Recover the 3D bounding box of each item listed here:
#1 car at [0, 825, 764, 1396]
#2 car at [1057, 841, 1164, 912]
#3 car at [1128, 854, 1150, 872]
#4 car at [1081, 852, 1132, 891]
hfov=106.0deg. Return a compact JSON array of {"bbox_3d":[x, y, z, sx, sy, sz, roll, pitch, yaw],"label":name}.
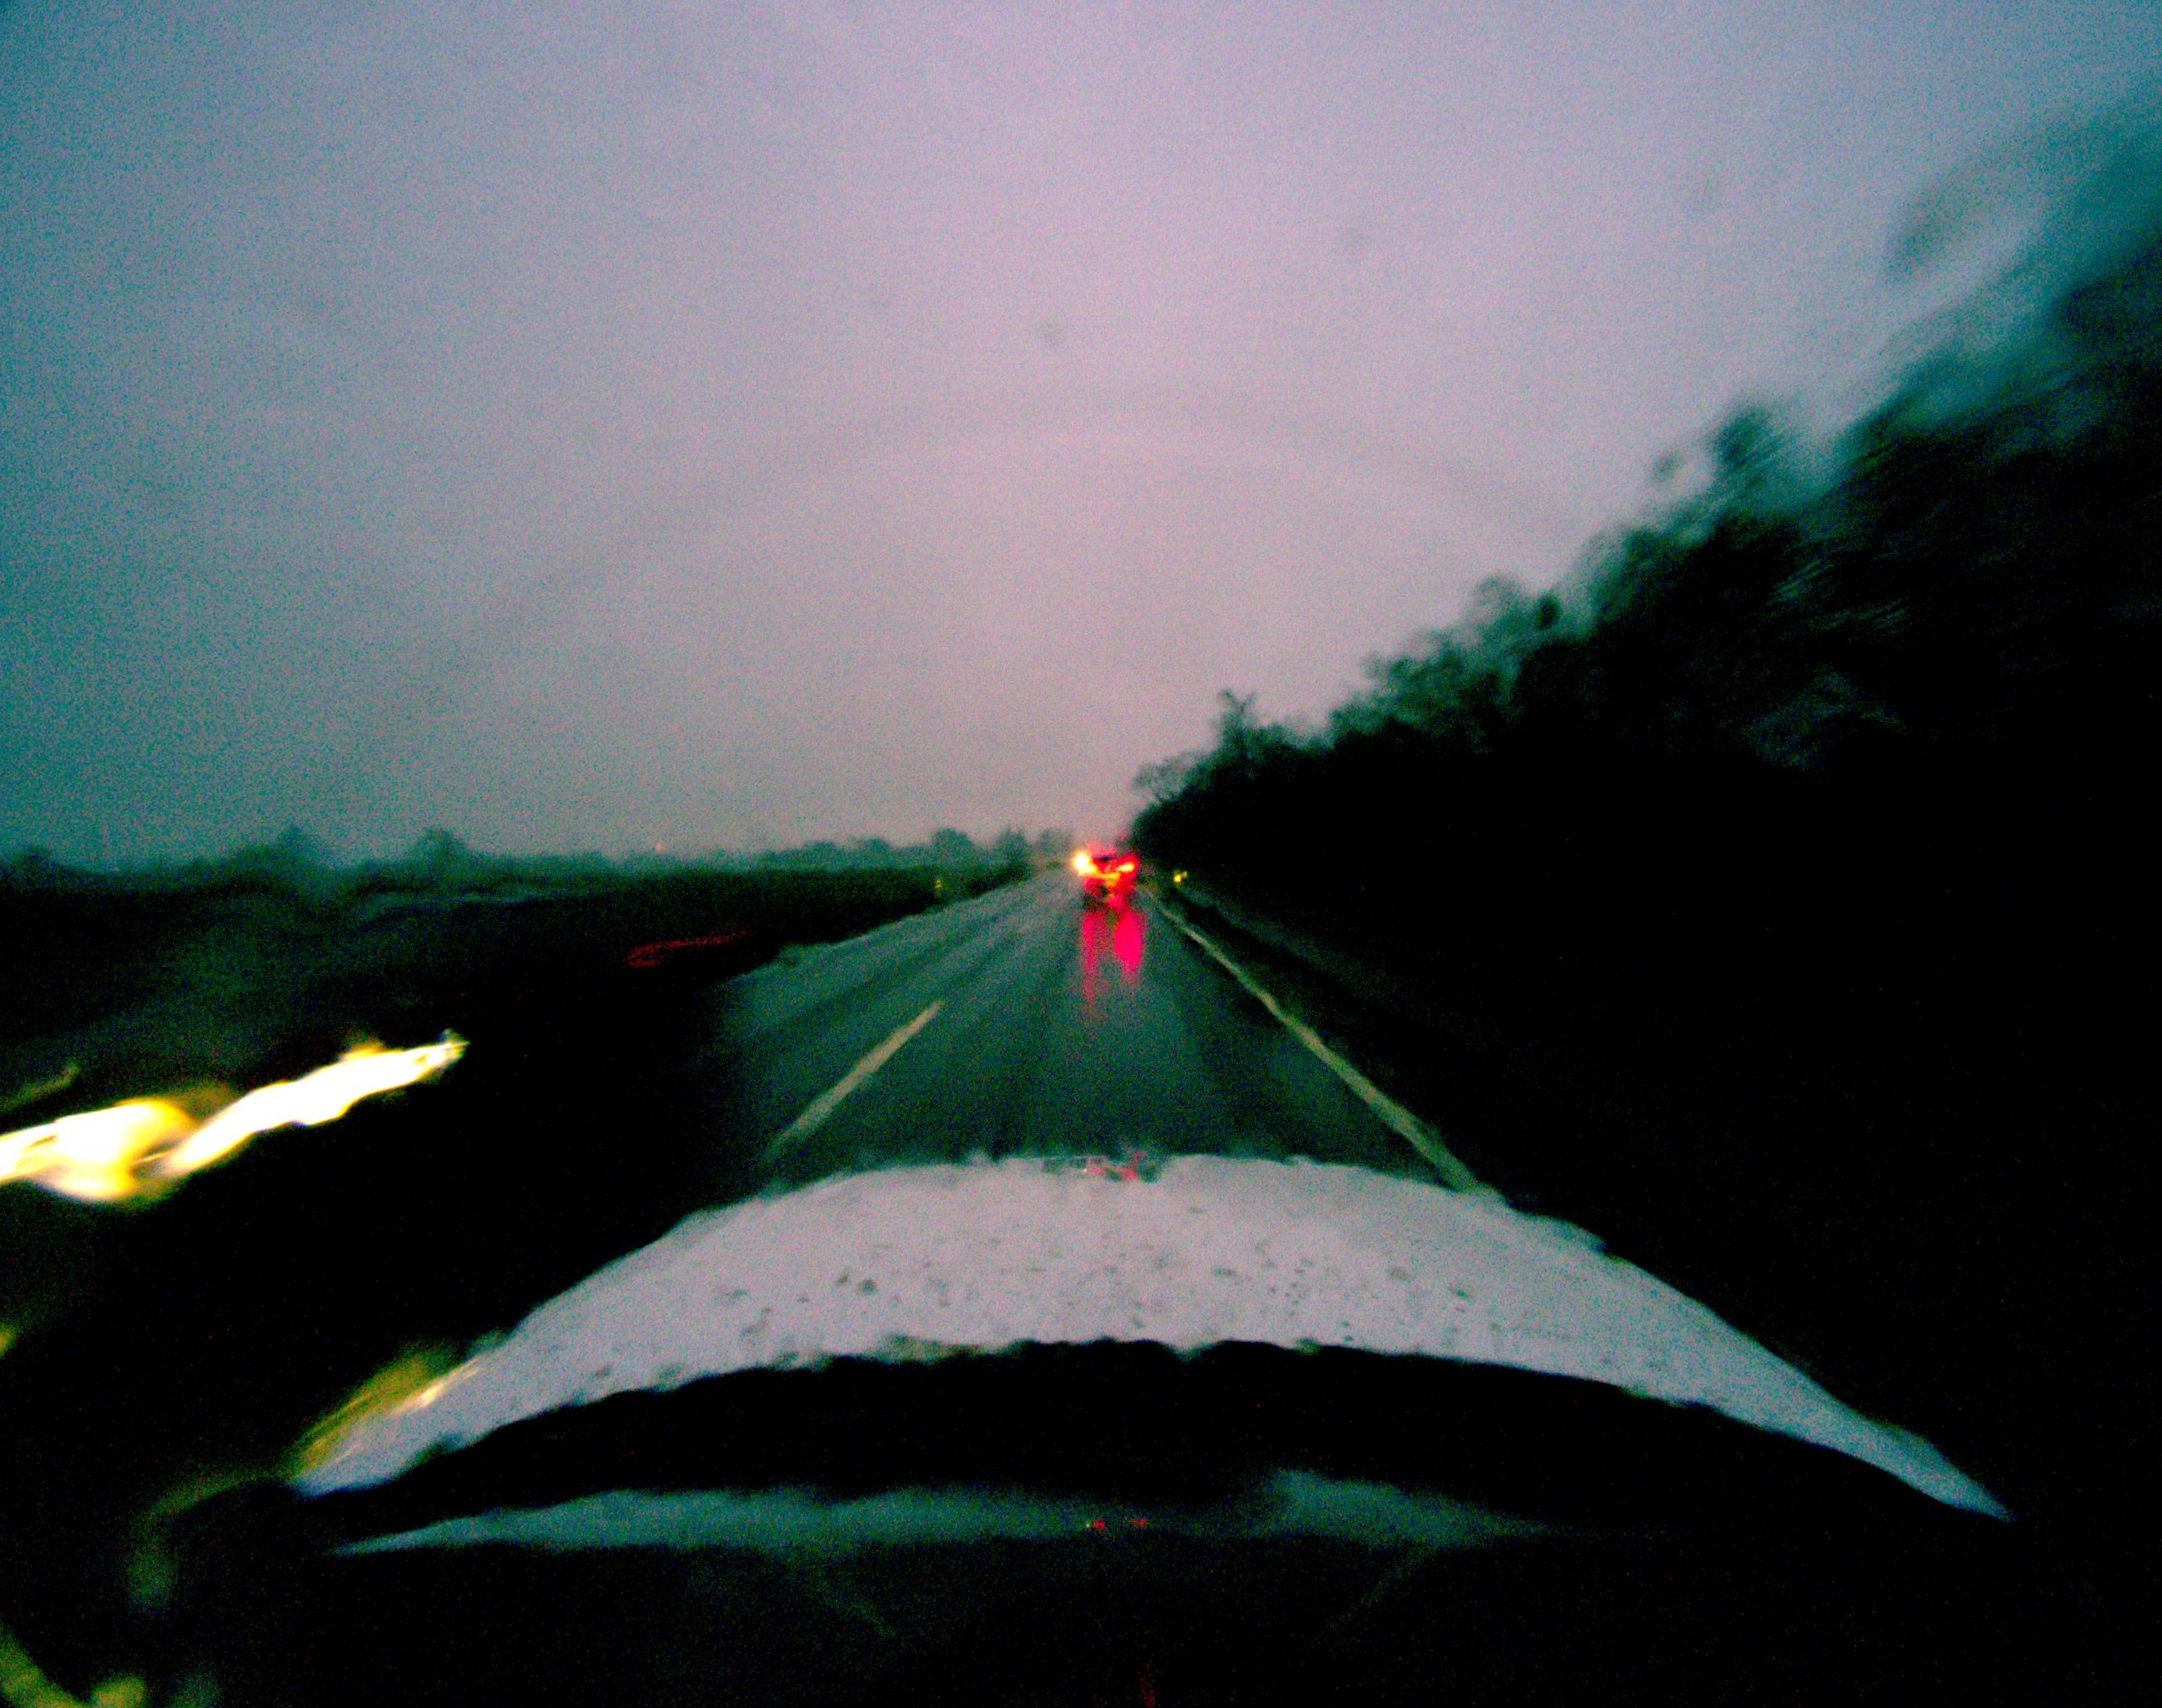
[{"bbox_3d":[-3.573,0.797,4.530,1.722,1.646,4.263,-4,0,2],"label":"car"},{"bbox_3d":[1.002,0.679,27.989,3.153,2.035,6.854,-2,0,2],"label":"car"},{"bbox_3d":[5.752,0.927,81.021,1.921,1.750,4.001,-1,-1,1],"label":"car"},{"bbox_3d":[1.503,0.958,48.073,2.745,2.035,6.593,-2,0,2],"label":"car"}]
